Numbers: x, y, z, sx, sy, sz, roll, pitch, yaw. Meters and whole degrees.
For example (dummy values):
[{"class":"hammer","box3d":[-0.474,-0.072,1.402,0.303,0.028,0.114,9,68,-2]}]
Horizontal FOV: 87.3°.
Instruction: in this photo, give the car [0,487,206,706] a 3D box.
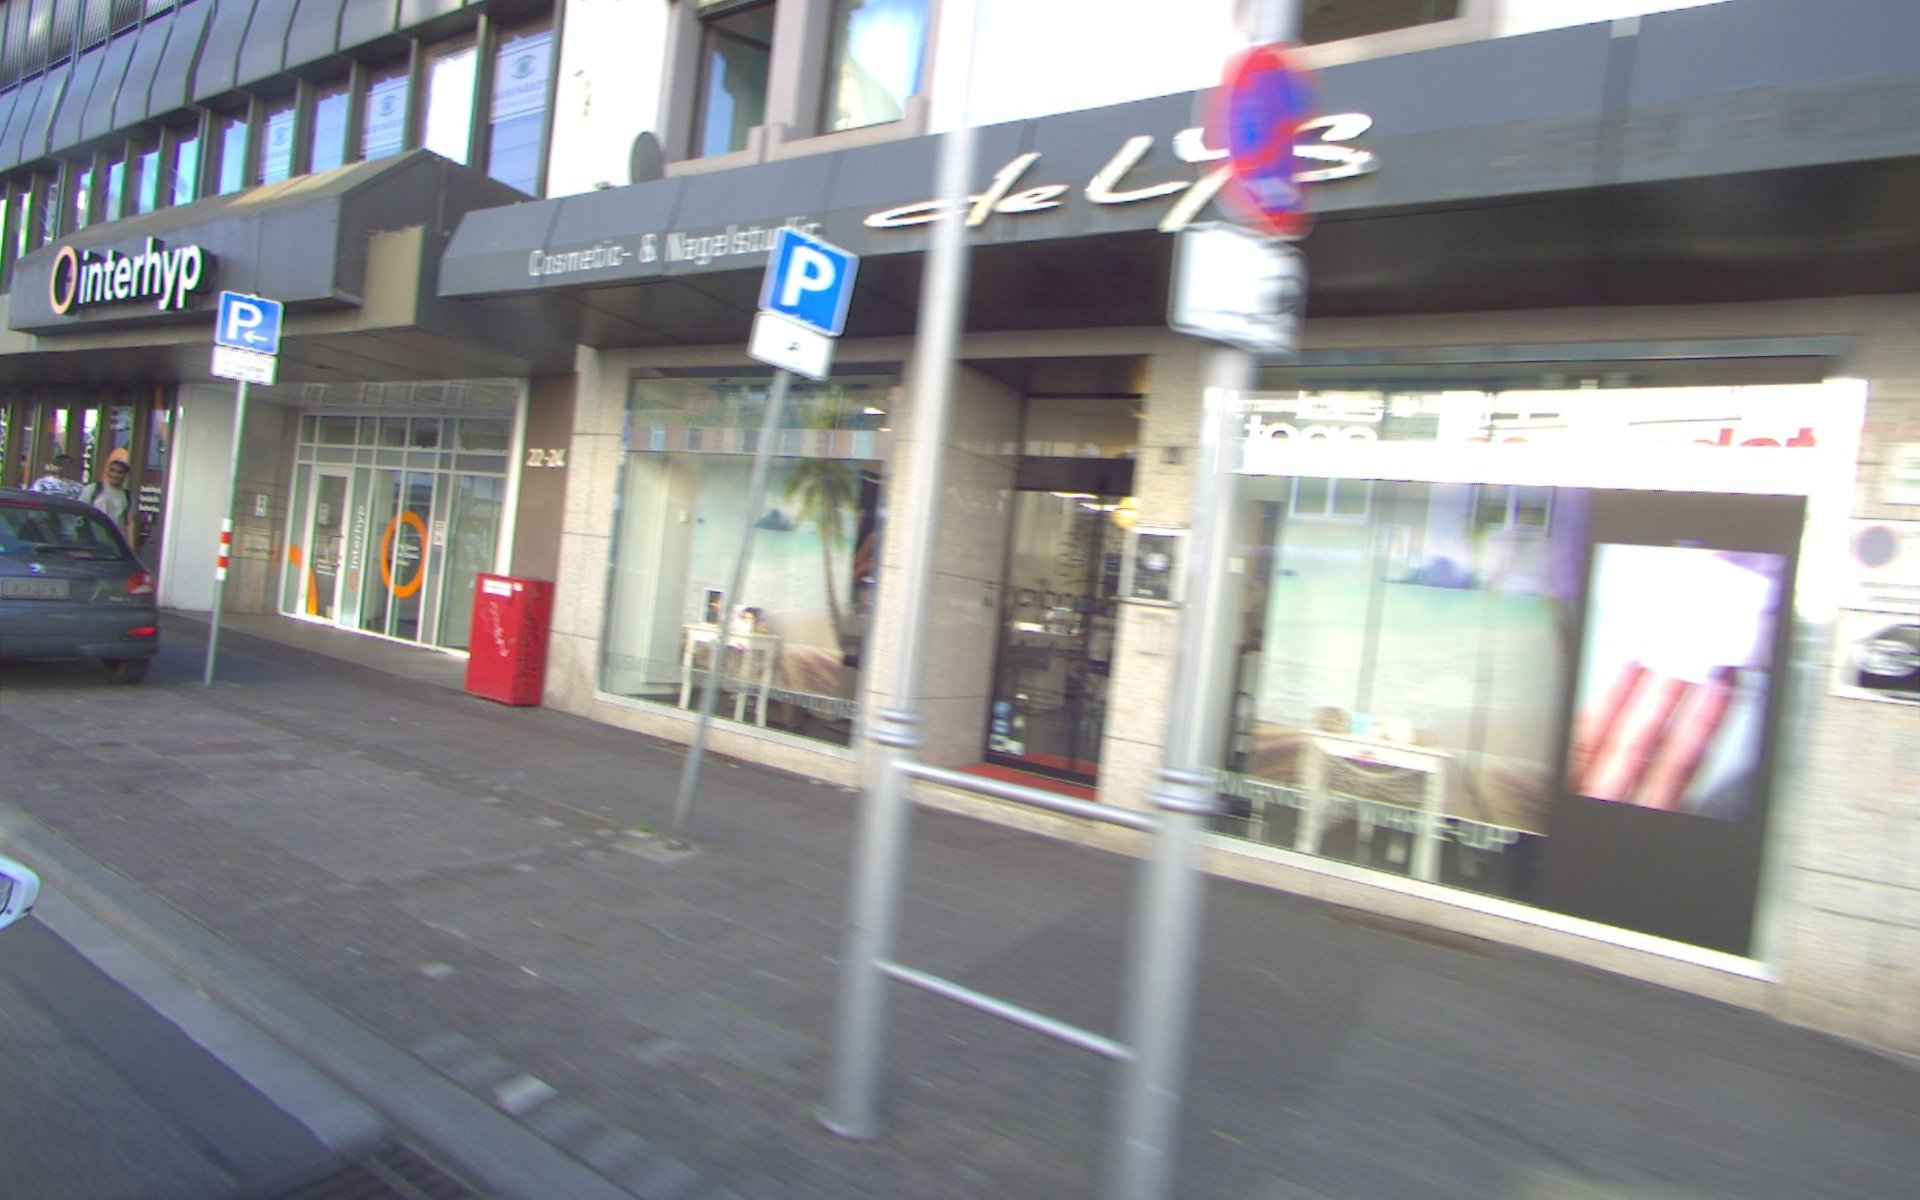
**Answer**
[{"class":"car","box3d":[-8.189,-0.206,8.249,4.232,1.481,1.848,7,1,34]}]

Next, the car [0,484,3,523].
[{"class":"car","box3d":[-12.139,-0.719,10.718,4.224,1.480,1.747,7,1,32]}]

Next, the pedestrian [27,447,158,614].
[{"class":"pedestrian","box3d":[-10.046,-0.799,11.655,1.015,1.774,0.780,7,1,33]}]

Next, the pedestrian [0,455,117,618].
[{"class":"pedestrian","box3d":[-11.160,-0.771,12.352,0.983,1.867,0.923,7,3,32]}]
